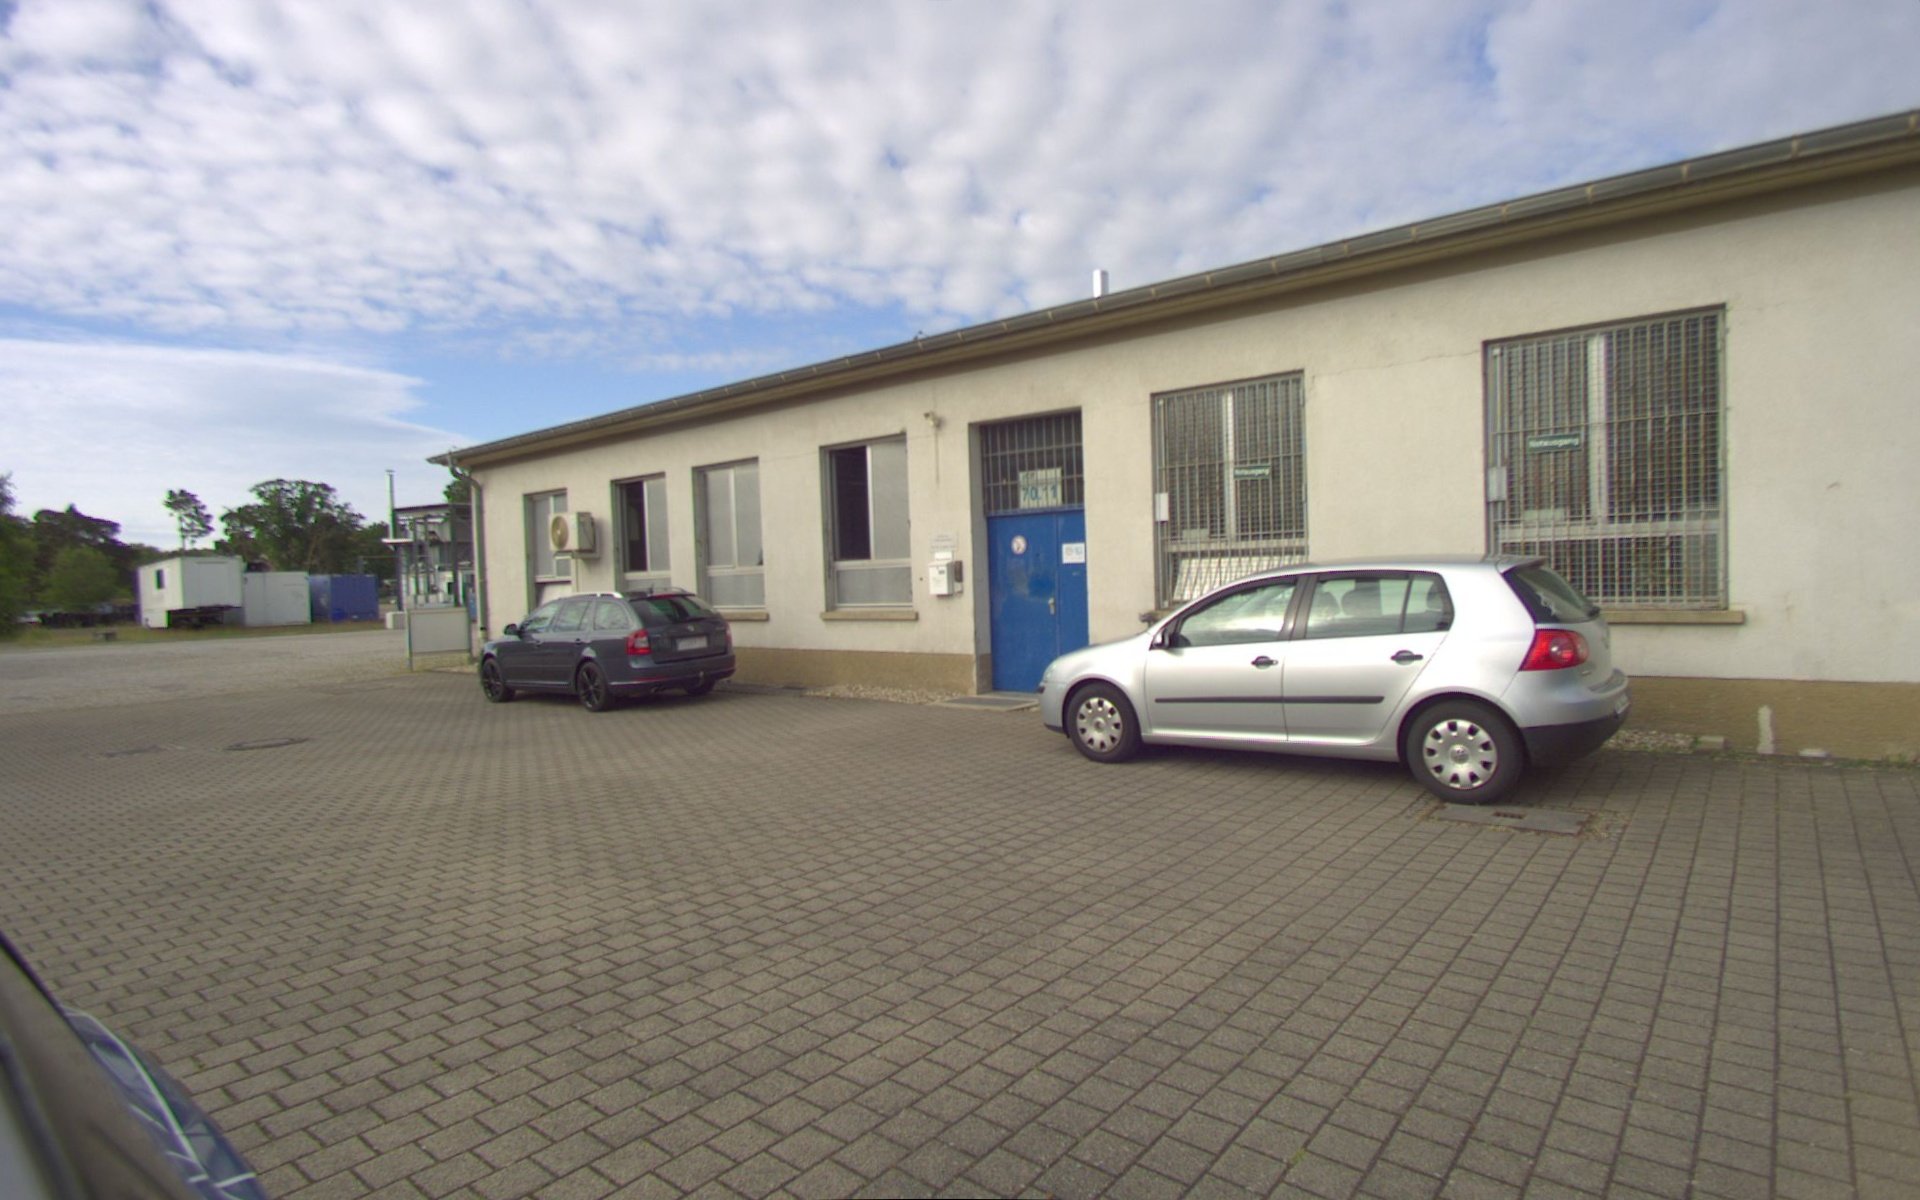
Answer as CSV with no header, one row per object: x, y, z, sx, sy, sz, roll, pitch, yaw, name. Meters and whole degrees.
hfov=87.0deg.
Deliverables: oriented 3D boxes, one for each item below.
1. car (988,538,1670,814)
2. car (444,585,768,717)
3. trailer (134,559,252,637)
2.542,0.409,7.524,4.362,1.449,1.906,-2,3,39,car
-4.963,0.628,13.845,4.805,1.472,1.906,-2,1,39,car
-40.157,-0.050,52.773,10.774,3.689,2.839,-1,1,42,trailer
